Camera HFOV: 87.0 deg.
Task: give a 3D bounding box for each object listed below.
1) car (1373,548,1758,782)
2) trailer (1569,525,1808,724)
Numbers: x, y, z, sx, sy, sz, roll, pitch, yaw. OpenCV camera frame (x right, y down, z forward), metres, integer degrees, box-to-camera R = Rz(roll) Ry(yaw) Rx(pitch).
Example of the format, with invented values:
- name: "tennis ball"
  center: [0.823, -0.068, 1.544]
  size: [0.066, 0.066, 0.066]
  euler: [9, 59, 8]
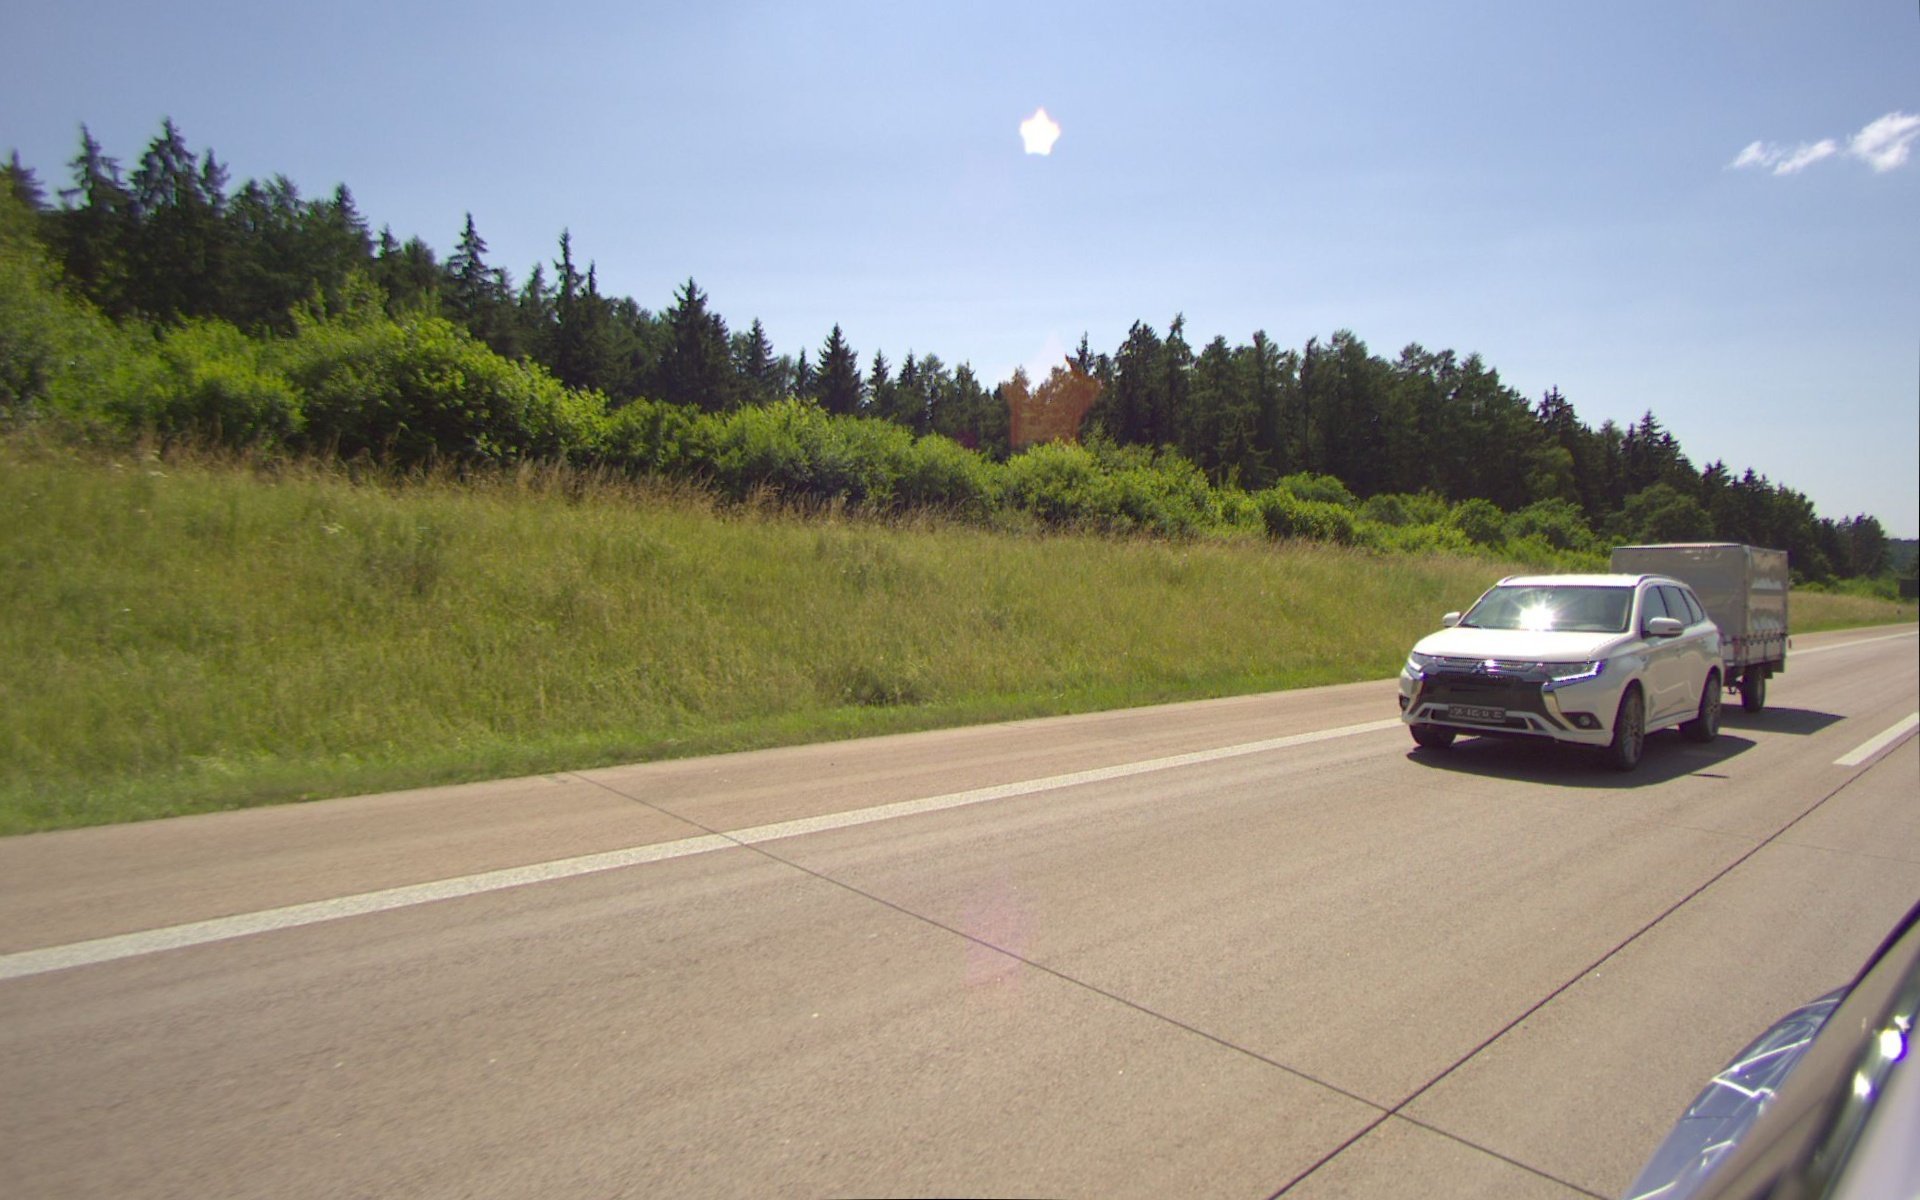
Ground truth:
- name: "car"
  center: [6.179, 0.458, 10.011]
  size: [5.098, 1.750, 1.893]
  euler: [0, 1, -42]
- name: "trailer"
  center: [9.498, 0.251, 13.089]
  size: [3.946, 2.191, 1.660]
  euler: [0, 0, -41]
